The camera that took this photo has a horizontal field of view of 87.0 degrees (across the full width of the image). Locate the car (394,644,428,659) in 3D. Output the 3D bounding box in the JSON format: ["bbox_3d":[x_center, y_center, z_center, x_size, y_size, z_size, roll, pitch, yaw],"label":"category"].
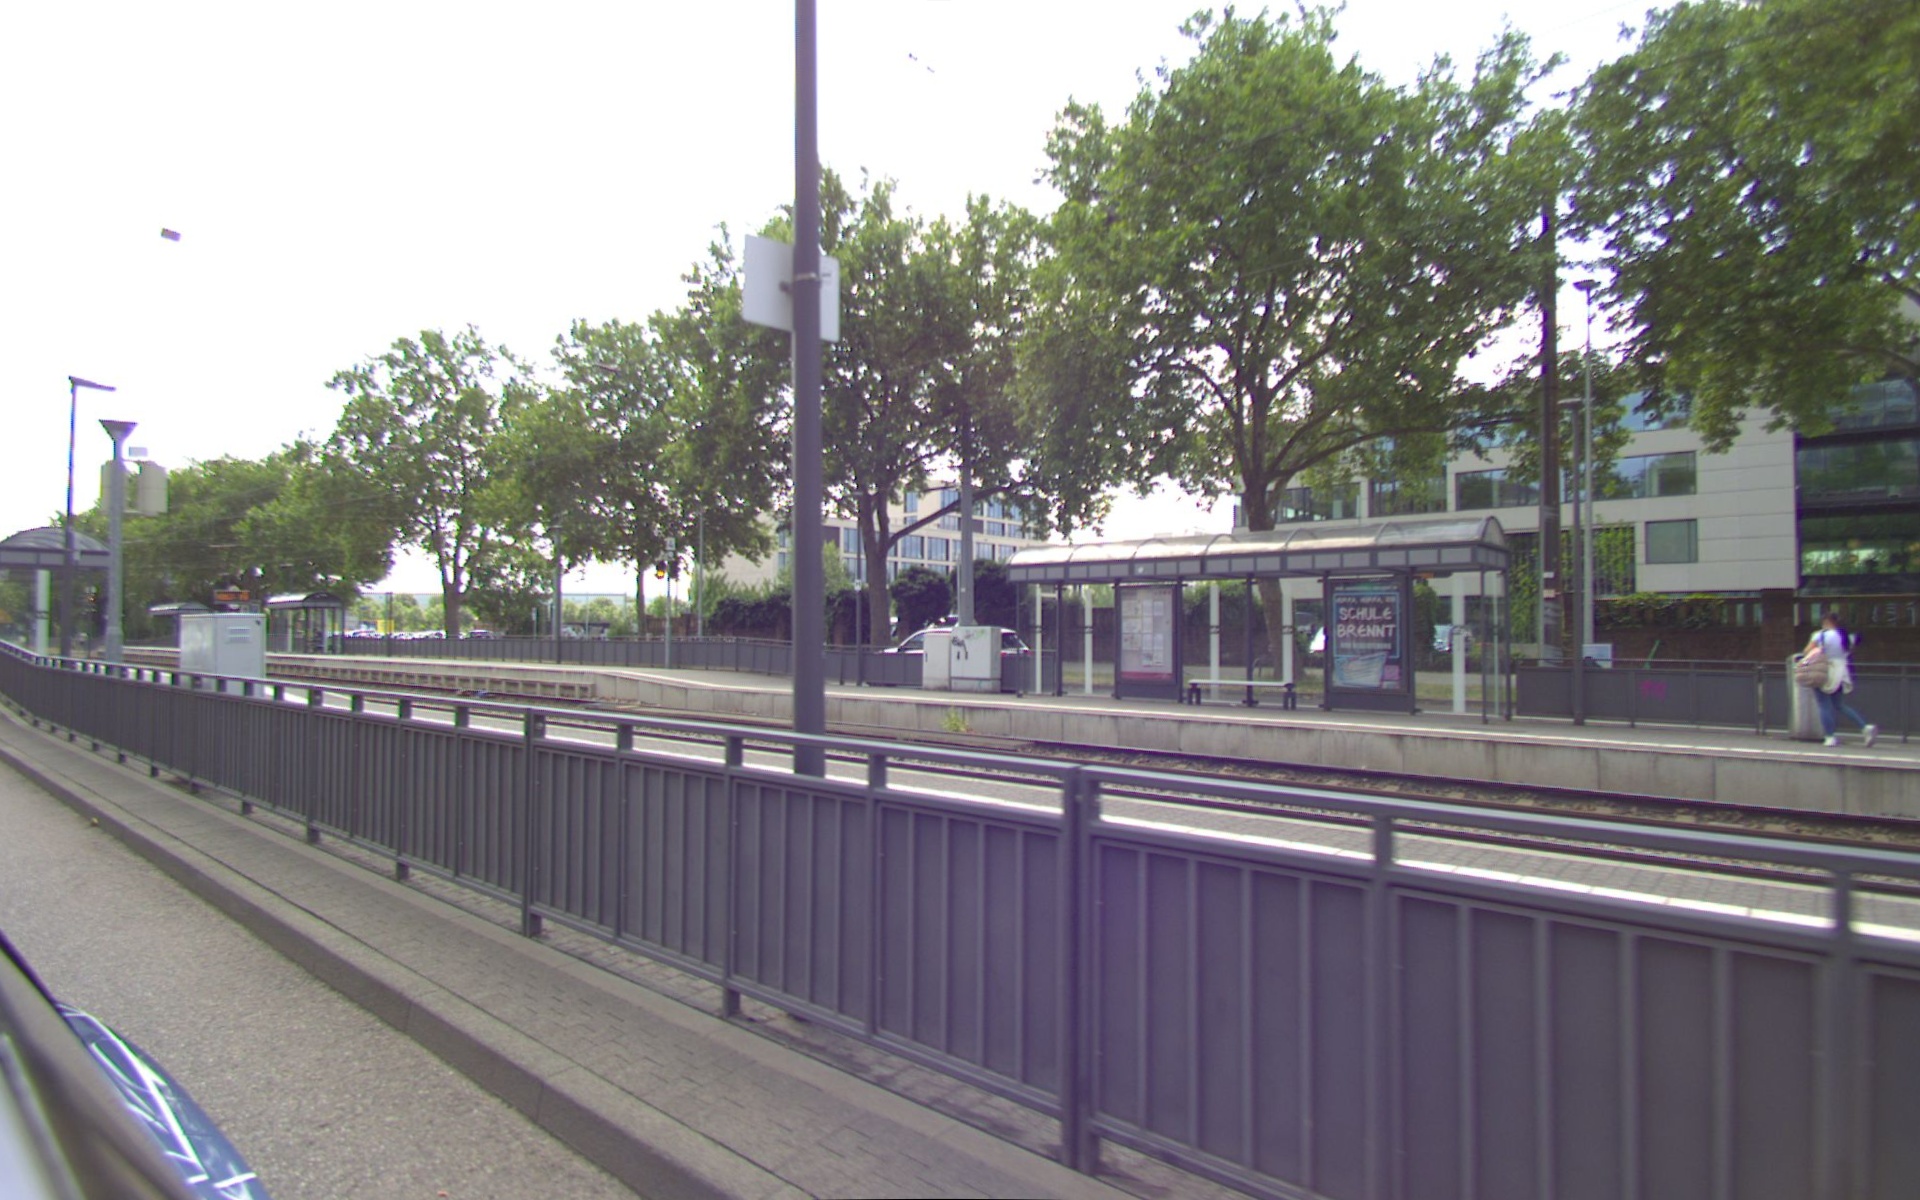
[{"bbox_3d":[-56.609,5.333,104.338,3.998,1.487,1.779,-3,-4,41],"label":"car"}]

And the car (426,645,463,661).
[{"bbox_3d":[-49.161,5.018,96.482,3.998,1.487,1.779,-3,-4,41],"label":"car"}]

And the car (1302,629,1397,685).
[{"bbox_3d":[14.834,2.185,38.404,1.935,2.004,4.775,-2,-5,40],"label":"car"}]

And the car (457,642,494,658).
[{"bbox_3d":[-47.265,4.872,98.612,3.998,1.487,1.779,-3,-4,41],"label":"car"}]

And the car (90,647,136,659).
[{"bbox_3d":[-100.745,6.292,120.411,1.999,1.453,3.945,-2,-3,41],"label":"car"}]

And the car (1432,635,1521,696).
[{"bbox_3d":[18.646,2.366,36.437,1.958,2.049,4.094,-2,-5,40],"label":"car"}]

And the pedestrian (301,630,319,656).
[{"bbox_3d":[-31.558,2.096,49.121,0.767,1.279,0.546,-3,-4,43],"label":"pedestrian"}]

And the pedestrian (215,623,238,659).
[{"bbox_3d":[-38.943,2.178,53.728,0.863,1.859,0.699,-2,-3,37],"label":"pedestrian"}]

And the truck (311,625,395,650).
[{"bbox_3d":[-109.516,6.876,182.967,2.748,4.105,12.649,-2,-5,42],"label":"truck"}]

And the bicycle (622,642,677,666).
[{"bbox_3d":[-17.657,3.068,57.667,3.003,1.176,0.635,-2,-1,-45],"label":"bicycle"}]

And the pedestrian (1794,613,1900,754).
[{"bbox_3d":[9.988,0.923,11.426,0.802,1.524,0.695,-2,-4,37],"label":"pedestrian"}]
